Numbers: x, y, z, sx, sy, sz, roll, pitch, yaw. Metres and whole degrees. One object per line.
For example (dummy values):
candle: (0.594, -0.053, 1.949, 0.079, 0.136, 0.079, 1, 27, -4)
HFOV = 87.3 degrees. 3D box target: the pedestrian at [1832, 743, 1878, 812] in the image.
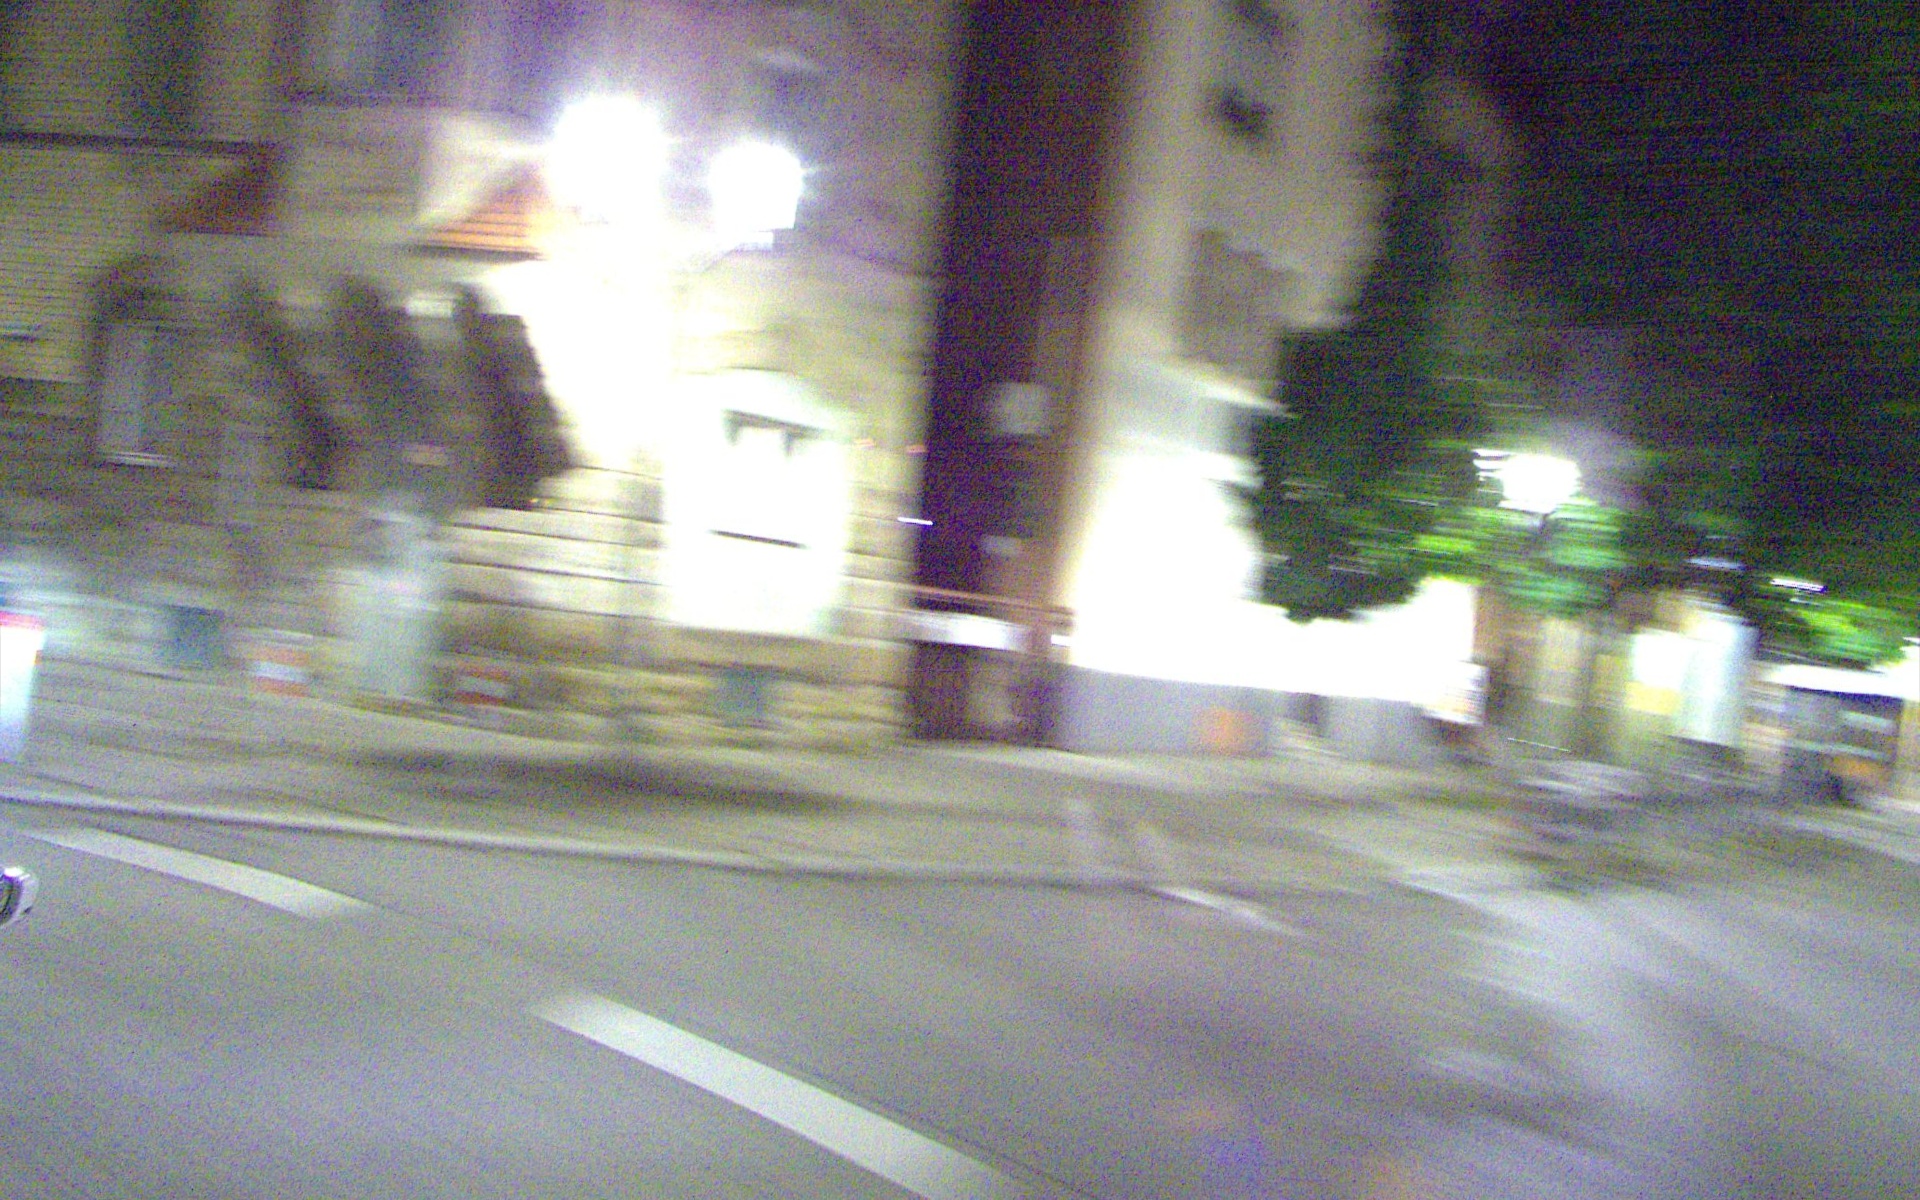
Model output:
pedestrian: (18.465, 3.662, 20.749, 0.462, 1.315, 0.510, 7, 0, -34)

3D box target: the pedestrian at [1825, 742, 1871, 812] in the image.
pedestrian: (18.077, 3.605, 20.481, 0.462, 1.315, 0.510, 7, 0, -34)
